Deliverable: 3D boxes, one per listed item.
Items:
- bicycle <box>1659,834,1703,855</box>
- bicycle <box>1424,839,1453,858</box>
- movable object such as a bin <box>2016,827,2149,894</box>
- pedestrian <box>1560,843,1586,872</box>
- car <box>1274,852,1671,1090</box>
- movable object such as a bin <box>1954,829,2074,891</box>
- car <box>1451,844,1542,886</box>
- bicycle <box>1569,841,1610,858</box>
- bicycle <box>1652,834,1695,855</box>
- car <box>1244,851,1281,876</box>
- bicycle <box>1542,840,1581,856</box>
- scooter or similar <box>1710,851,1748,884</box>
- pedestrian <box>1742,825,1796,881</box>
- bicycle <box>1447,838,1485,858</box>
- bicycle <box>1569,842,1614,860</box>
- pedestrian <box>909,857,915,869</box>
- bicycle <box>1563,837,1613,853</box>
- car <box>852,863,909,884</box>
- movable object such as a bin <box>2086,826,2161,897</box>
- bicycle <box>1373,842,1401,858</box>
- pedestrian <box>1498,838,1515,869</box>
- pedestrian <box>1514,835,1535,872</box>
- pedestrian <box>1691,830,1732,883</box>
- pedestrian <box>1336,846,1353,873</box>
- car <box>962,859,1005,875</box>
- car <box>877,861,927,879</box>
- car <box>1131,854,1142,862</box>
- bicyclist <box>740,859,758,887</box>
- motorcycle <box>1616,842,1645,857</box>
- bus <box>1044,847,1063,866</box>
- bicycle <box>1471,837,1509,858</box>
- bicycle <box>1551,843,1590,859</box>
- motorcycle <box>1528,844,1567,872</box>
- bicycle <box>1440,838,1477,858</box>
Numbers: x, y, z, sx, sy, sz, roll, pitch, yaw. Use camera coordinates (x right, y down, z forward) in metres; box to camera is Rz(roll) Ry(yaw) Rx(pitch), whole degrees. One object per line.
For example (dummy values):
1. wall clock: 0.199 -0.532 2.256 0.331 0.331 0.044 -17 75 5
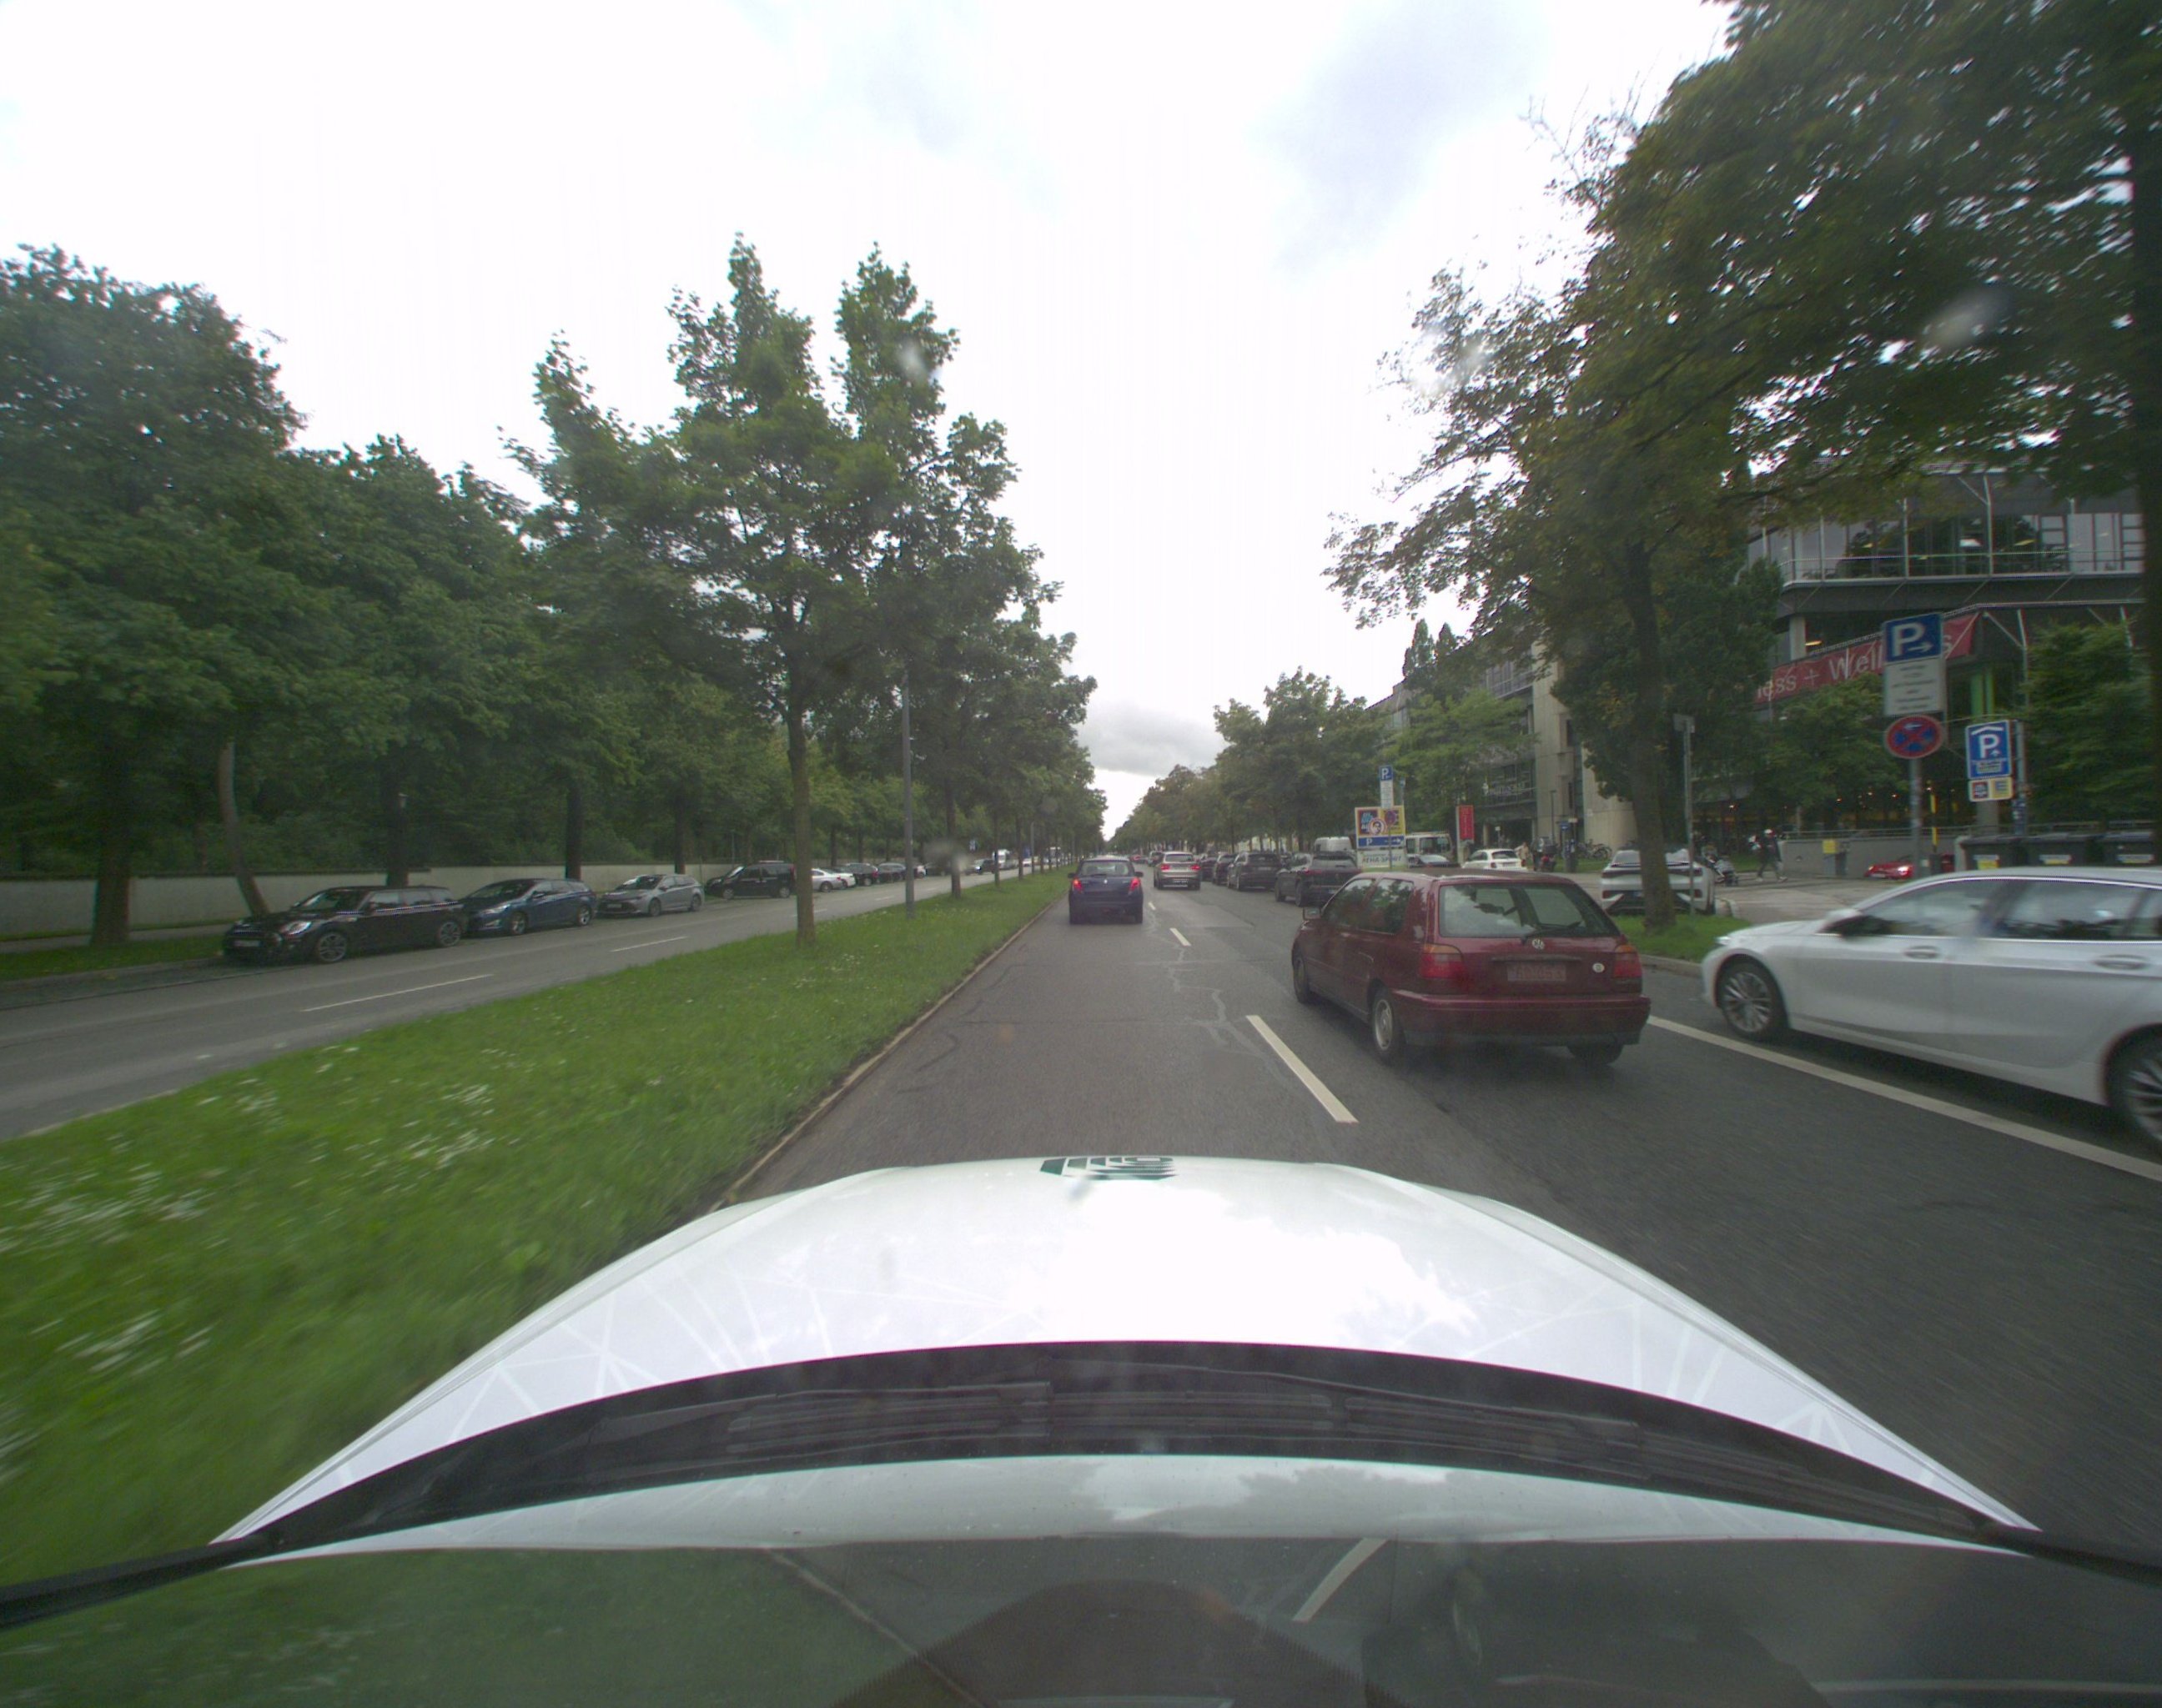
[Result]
1. bicycle: 35.387 -0.557 48.021 2.130 1.204 0.586 -2 0 -1
2. bicycle: 29.818 -0.439 67.907 2.625 1.508 0.791 -2 0 -28
3. movable object such as a bin: 22.342 0.133 18.215 1.332 1.409 1.314 -2 0 0
4. pedestrian: 23.102 0.177 38.249 0.728 1.290 0.699 -4 -1 6
5. car: 2.929 0.738 7.099 1.616 1.454 3.951 -2 0 1
6. movable object such as a bin: 22.367 0.133 19.566 1.332 1.409 1.314 -2 0 0
7. car: 17.942 0.434 35.370 1.986 1.651 4.002 -2 0 2
8. bicycle: 30.541 -0.289 48.912 2.021 0.958 0.751 -2 0 39
9. bicycle: 35.369 -0.557 48.654 2.130 1.204 0.586 -2 0 -1
10. car: 12.126 0.602 54.572 1.677 1.585 4.011 -2 0 2
11. bicycle: 31.009 -0.357 52.575 2.034 0.958 0.746 -2 0 0
12. scooter or similar: 20.903 0.420 26.283 0.498 1.018 0.833 -4 0 2
13. pedestrian: 22.088 -0.023 26.159 0.825 1.721 0.940 -4 0 2
14. bicycle: 30.520 -0.454 64.568 2.607 1.508 0.796 -2 0 -8
15. bicycle: 29.336 -0.179 46.811 0.751 0.958 2.022 -1 0 -44
16. pedestrian: -23.490 1.294 113.059 0.682 1.612 0.685 -1 -1 -29
17. bicycle: 29.791 -0.521 47.899 0.776 0.870 2.373 -1 0 -44
18. car: -16.125 1.566 65.539 4.122 1.469 1.900 -2 0 -32
19. movable object such as a bin: 22.309 0.133 16.867 1.332 1.409 1.314 -2 0 0
20. bicycle: 31.306 -0.404 83.326 2.605 1.508 0.797 -2 0 -5
21. pedestrian: 23.981 -0.036 45.927 0.572 1.751 0.733 -2 0 6
22. pedestrian: 21.285 -0.019 39.098 0.572 1.751 0.733 -2 0 6
23. pedestrian: 20.937 0.086 27.061 0.536 1.721 0.988 -4 0 2
24. pedestrian: 18.304 0.404 56.534 0.872 1.851 0.903 0 0 1
25. car: -10.074 1.342 84.667 1.895 1.542 4.214 -2 0 42
26. car: -16.495 1.484 74.960 4.119 1.501 1.901 -2 0 -29
27. car: 10.699 0.777 156.089 1.844 1.447 4.097 -2 0 0
28. bicyclist: -21.331 1.206 52.372 0.702 1.747 0.923 -2 0 2
29. motorcycle: 33.165 -0.251 49.160 0.847 0.865 1.572 -2 0 9
30. bus: -5.411 0.490 161.418 2.727 3.377 12.021 -3 0 3
31. bicycle: 30.974 -0.468 61.673 2.612 1.508 0.795 -2 0 -12
32. bicycle: 30.917 -0.208 51.470 2.034 0.958 0.746 -2 0 0
33. motorcycle: 22.999 0.179 40.186 0.693 1.290 2.067 -6 0 2
34. bicycle: 30.352 -0.449 65.459 2.607 1.508 0.796 -2 0 -8
